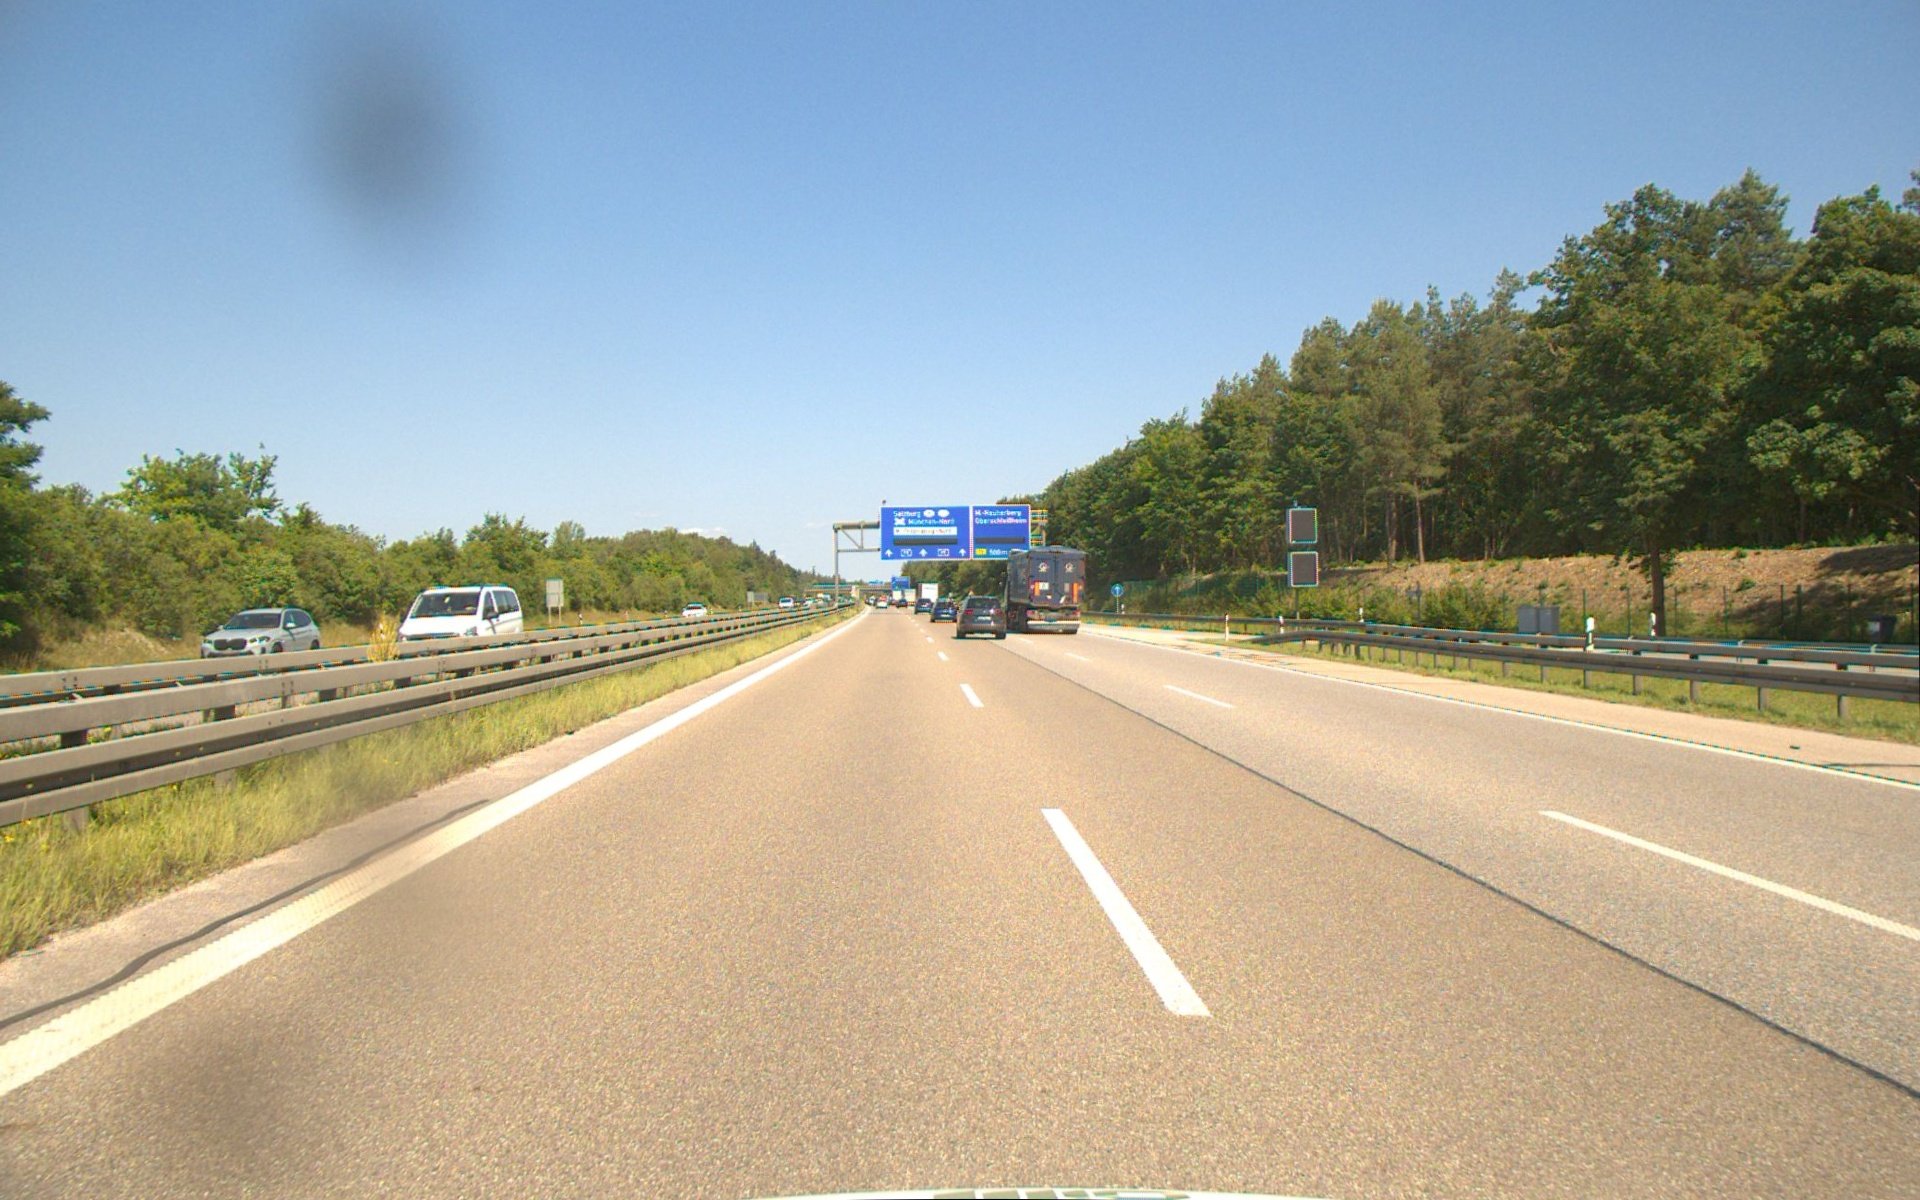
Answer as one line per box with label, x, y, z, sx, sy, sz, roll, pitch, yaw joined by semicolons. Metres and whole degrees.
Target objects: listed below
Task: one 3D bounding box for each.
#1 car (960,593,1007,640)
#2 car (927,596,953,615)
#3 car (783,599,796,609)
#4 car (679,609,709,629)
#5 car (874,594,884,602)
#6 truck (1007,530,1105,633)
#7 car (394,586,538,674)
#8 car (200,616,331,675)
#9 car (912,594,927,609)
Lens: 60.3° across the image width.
car;0.948;0.607;64.576;1.762;1.698;4.259;1;1;2
car;-1.337;0.363;110.088;1.674;1.176;3.688;-1;0;-1
car;-23.180;0.508;224.962;1.571;1.322;3.790;0;0;-1
car;-23.370;1.650;145.425;1.953;1.621;4.299;-1;0;-1
car;-12.440;-0.275;255.352;1.441;1.249;3.410;-1;0;-1
truck;4.413;-0.861;79.786;3.703;4.499;14.048;0;0;-1
car;-11.443;0.648;38.688;1.881;1.905;5.515;0;0;-2
car;-18.933;1.203;45.331;1.751;1.464;4.520;0;0;-1
car;-4.059;0.182;167.546;1.441;1.422;3.410;2;0;-1
